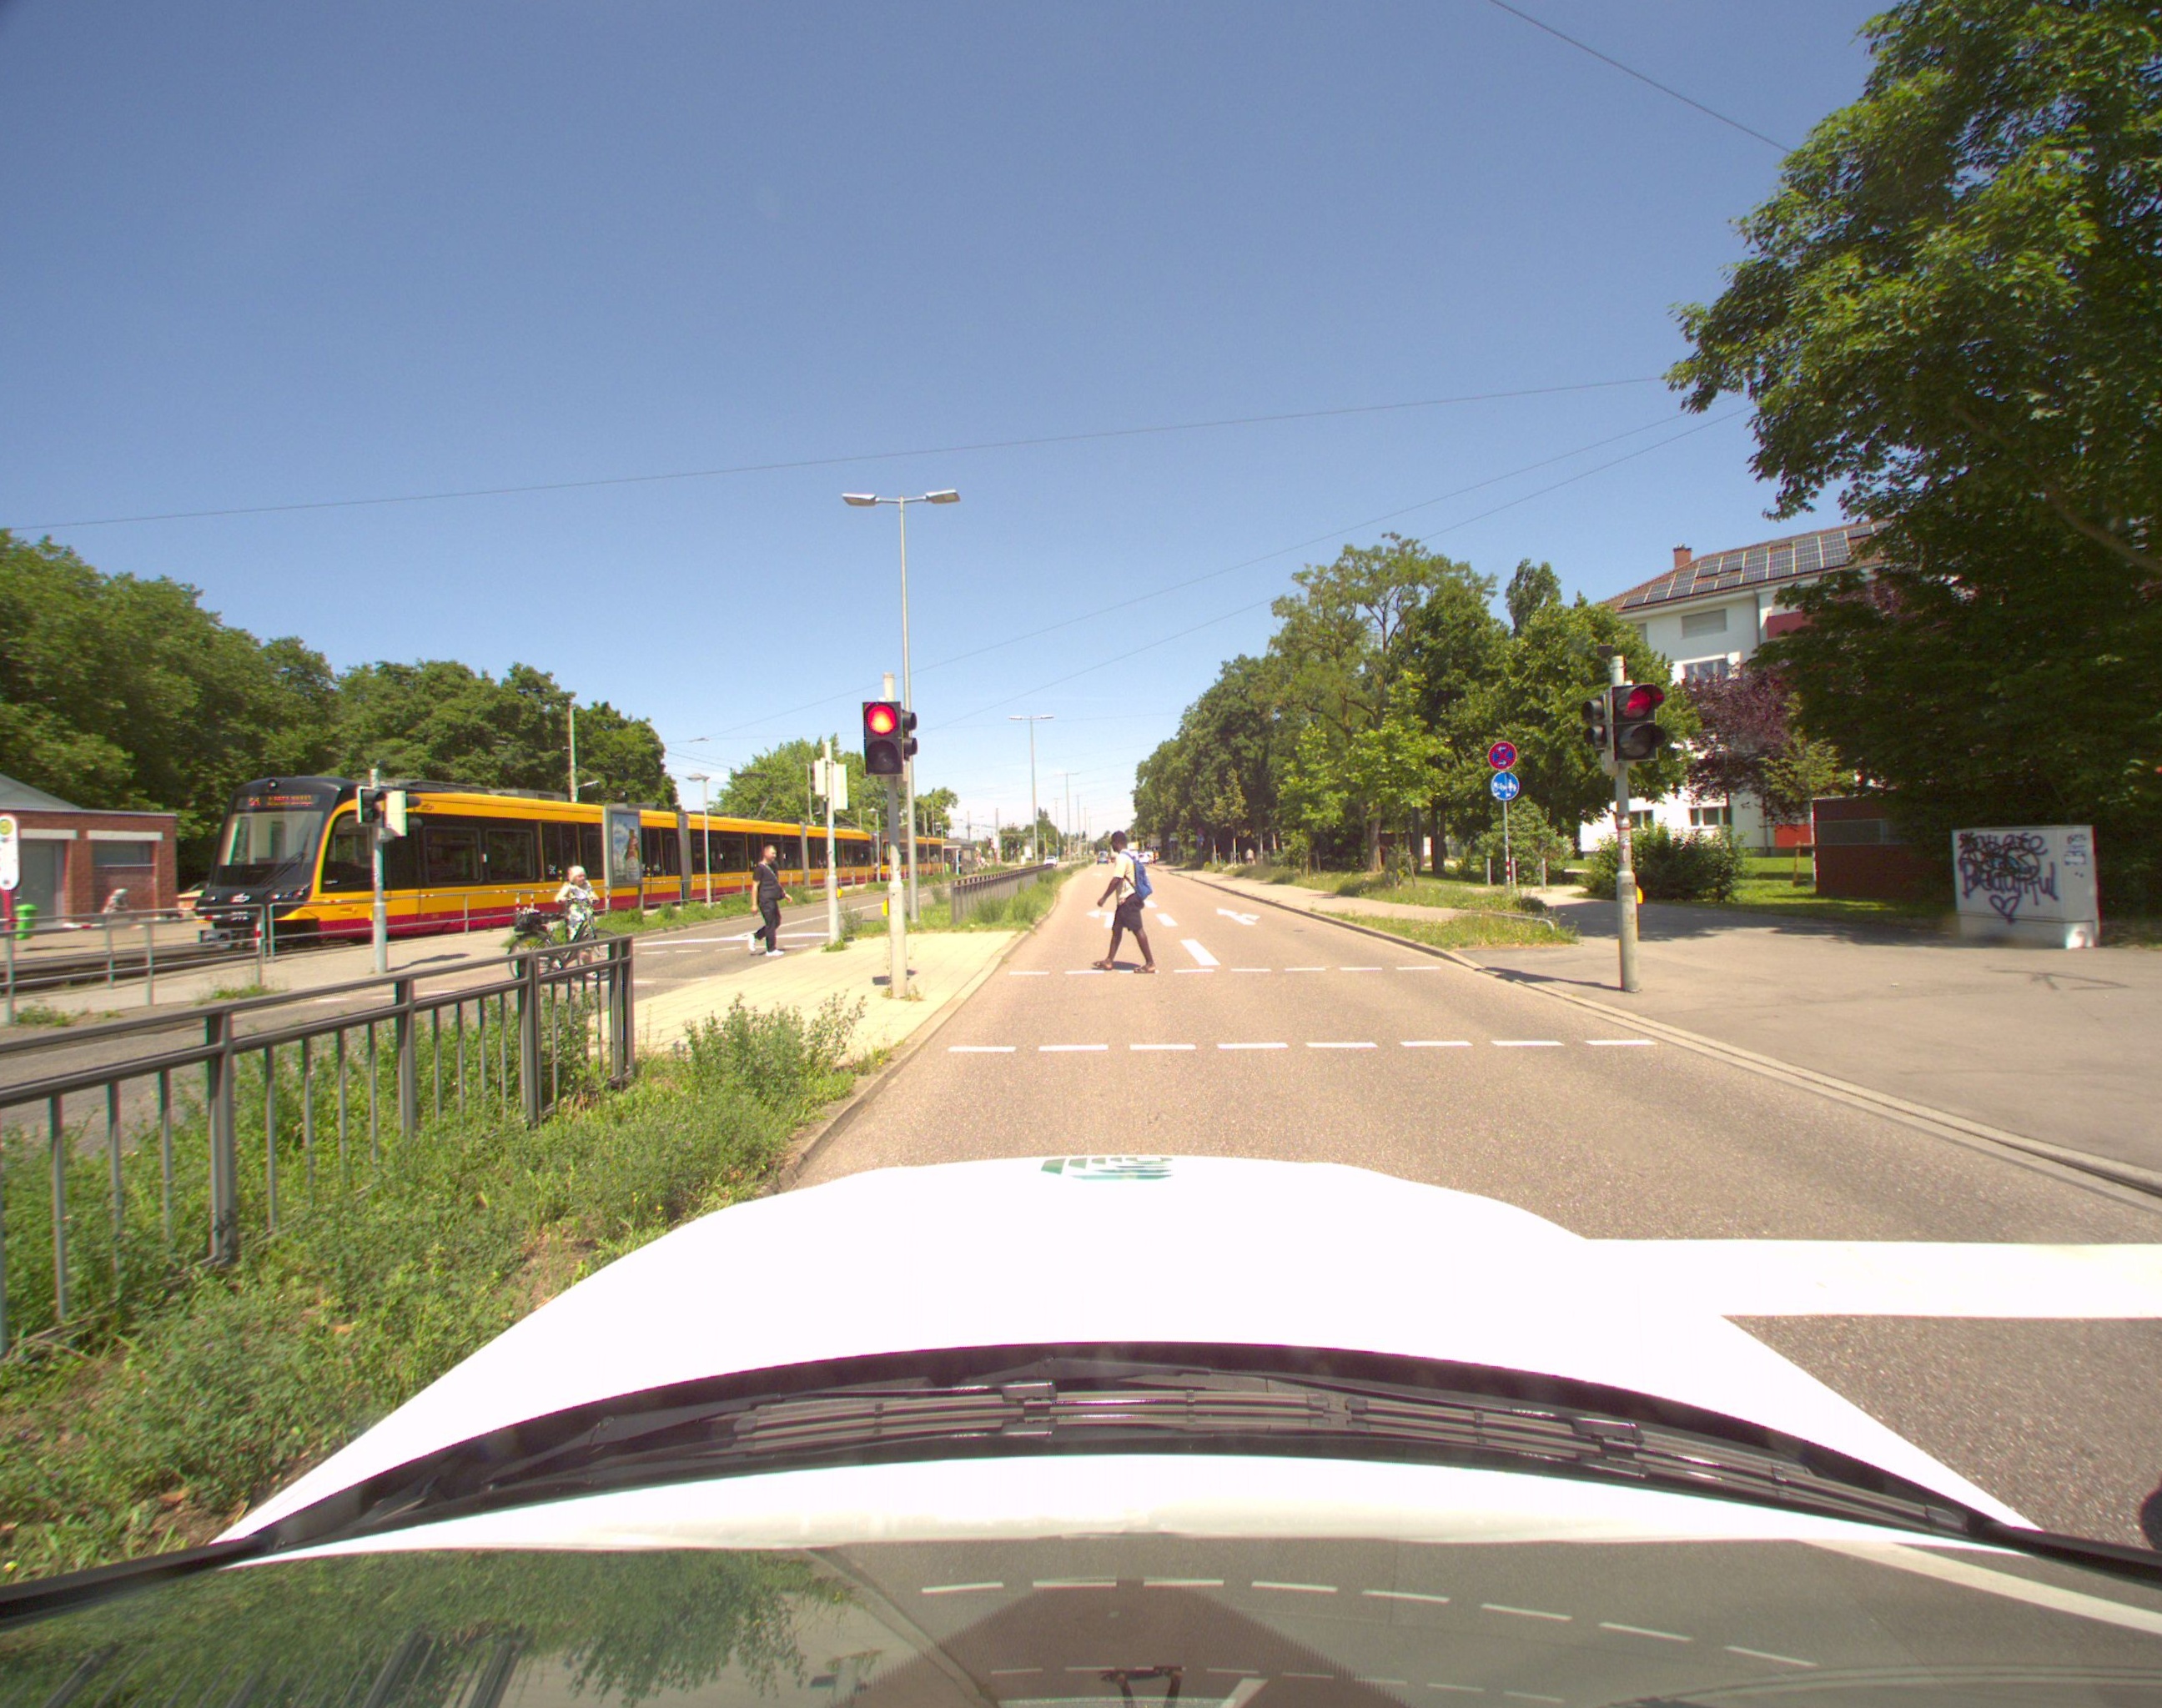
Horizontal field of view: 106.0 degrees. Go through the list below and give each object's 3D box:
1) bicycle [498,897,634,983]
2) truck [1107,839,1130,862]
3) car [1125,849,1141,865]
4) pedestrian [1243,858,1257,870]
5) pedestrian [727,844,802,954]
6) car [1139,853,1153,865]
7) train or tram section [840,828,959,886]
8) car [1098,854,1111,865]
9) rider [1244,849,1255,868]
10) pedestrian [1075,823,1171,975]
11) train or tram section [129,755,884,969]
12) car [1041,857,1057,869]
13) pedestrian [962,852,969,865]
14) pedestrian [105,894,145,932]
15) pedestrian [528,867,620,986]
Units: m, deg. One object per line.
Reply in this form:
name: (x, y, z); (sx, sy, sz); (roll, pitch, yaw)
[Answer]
bicycle: (-7.212, 1.205, 11.411); (1.853, 1.157, 0.243); (-1, 0, 7)
truck: (6.771, -0.608, 148.545); (3.884, 3.813, 10.797); (-2, 0, 2)
car: (6.196, 0.368, 96.585); (1.719, 1.814, 4.006); (0, 0, 5)
pedestrian: (11.955, 0.688, 57.759); (0.675, 0.847, 1.774); (-1, 0, 2)
pedestrian: (-5.362, 0.738, 13.794); (0.949, 1.797, 0.710); (-2, 0, 31)
car: (8.907, 0.637, 111.654); (1.796, 1.540, 4.002); (-1, 0, 2)
train or tram section: (-13.467, 0.214, 64.699); (2.777, 3.668, 26.010); (-1, 0, 2)
car: (3.529, 0.782, 121.722); (1.794, 1.486, 4.003); (-2, 0, 3)
rider: (11.941, 0.315, 57.748); (0.675, 1.281, 0.534); (-1, 0, 1)
pedestrian: (0.551, 0.554, 10.420); (1.038, 1.850, 0.760); (-1, -1, 16)
train or tram section: (-14.574, 0.171, 32.949); (2.777, 3.668, 37.533); (-1, 0, 2)
car: (-4.654, 1.328, 118.360); (1.986, 1.650, 4.002); (-2, 0, 2)
pedestrian: (-17.174, 0.690, 120.641); (0.860, 1.964, 0.874); (-1, 0, 1)
pedestrian: (-26.870, 1.640, 22.896); (0.479, 1.018, 0.523); (-2, 0, 4)
pedestrian: (-7.198, 1.009, 11.580); (0.814, 1.628, 0.707); (-1, 0, 7)
